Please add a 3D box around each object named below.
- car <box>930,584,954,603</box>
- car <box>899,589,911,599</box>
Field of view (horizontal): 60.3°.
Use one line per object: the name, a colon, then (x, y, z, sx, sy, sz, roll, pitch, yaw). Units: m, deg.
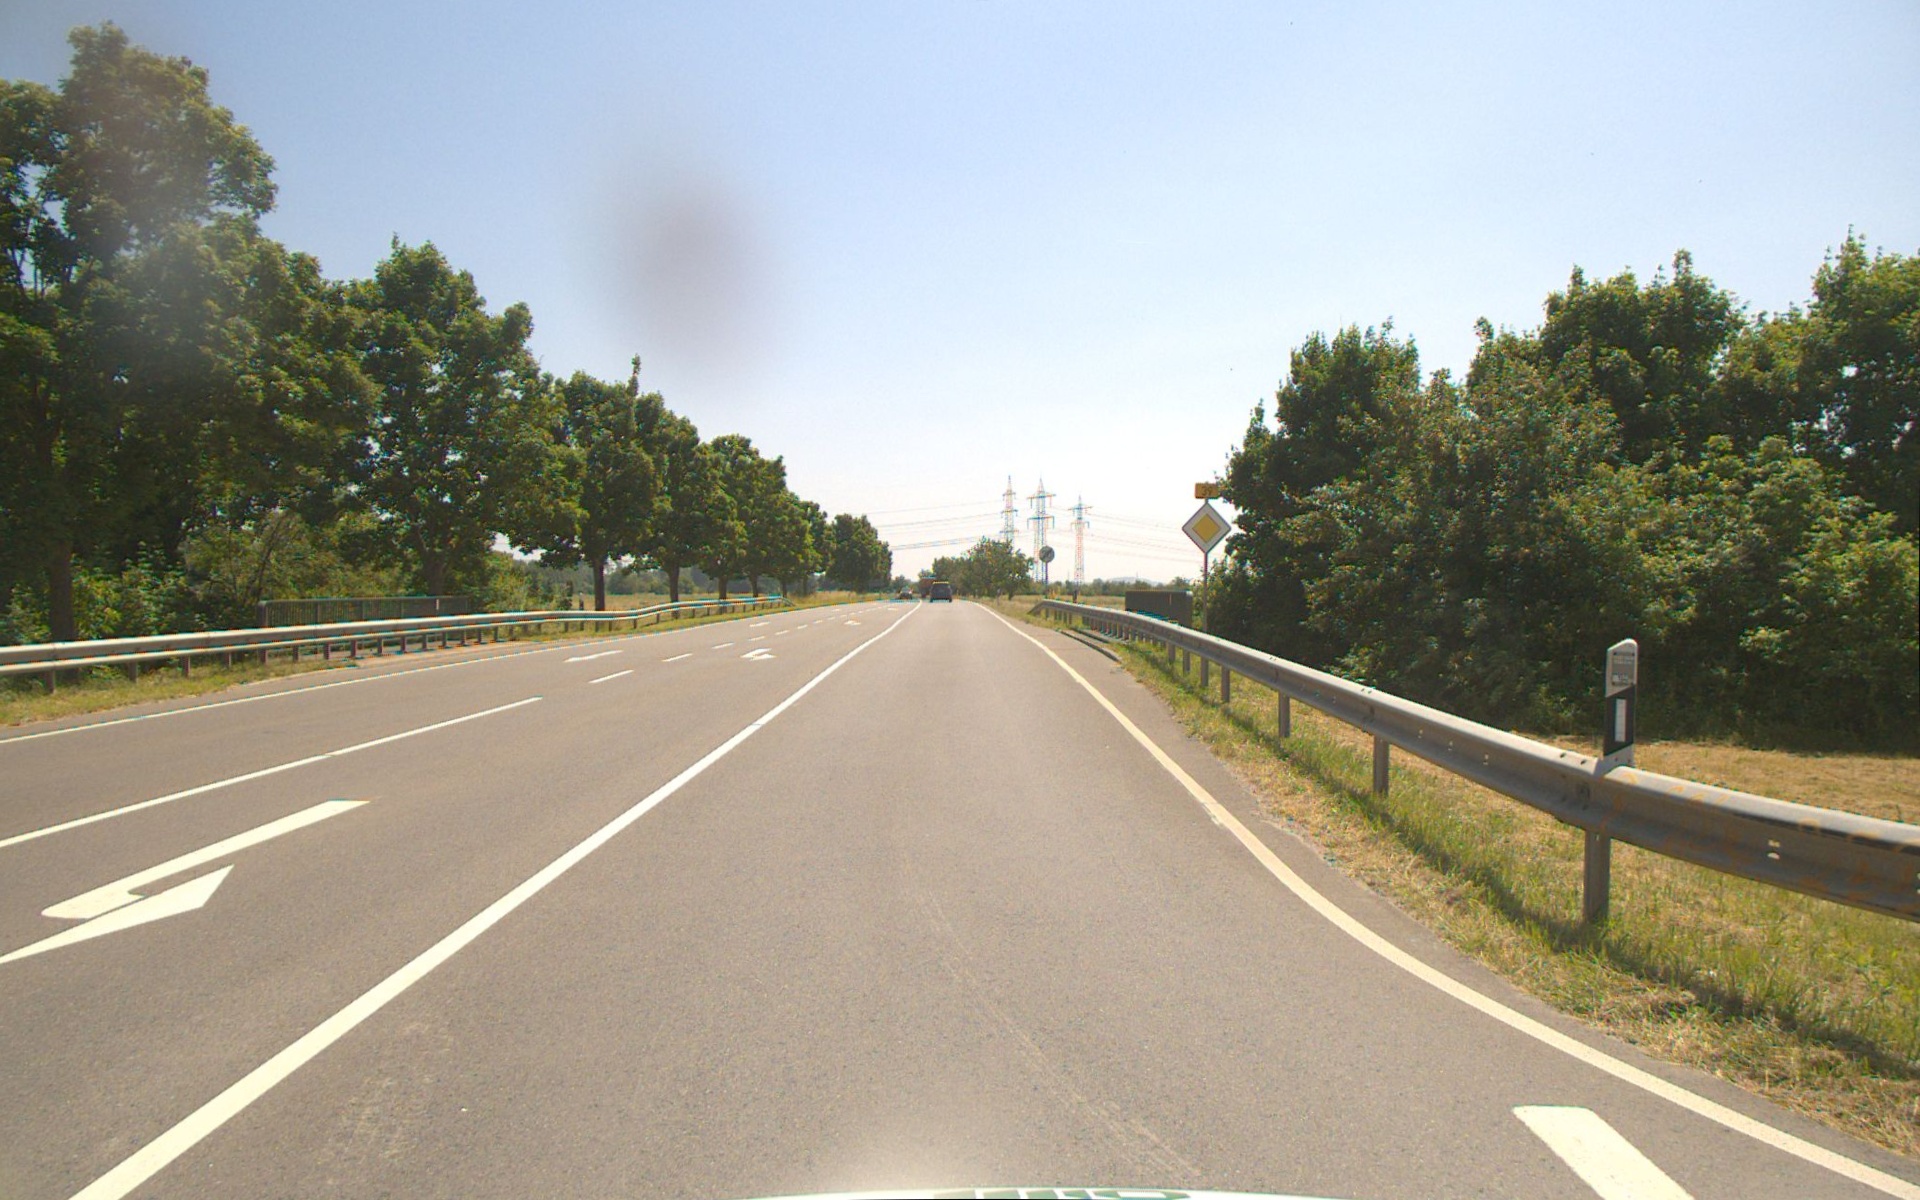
car: (-1.495, -0.545, 139.019, 1.847, 1.544, 4.038, 2, 0, -2)
car: (-8.147, -0.886, 243.387, 1.704, 1.499, 4.616, -1, 0, -2)
